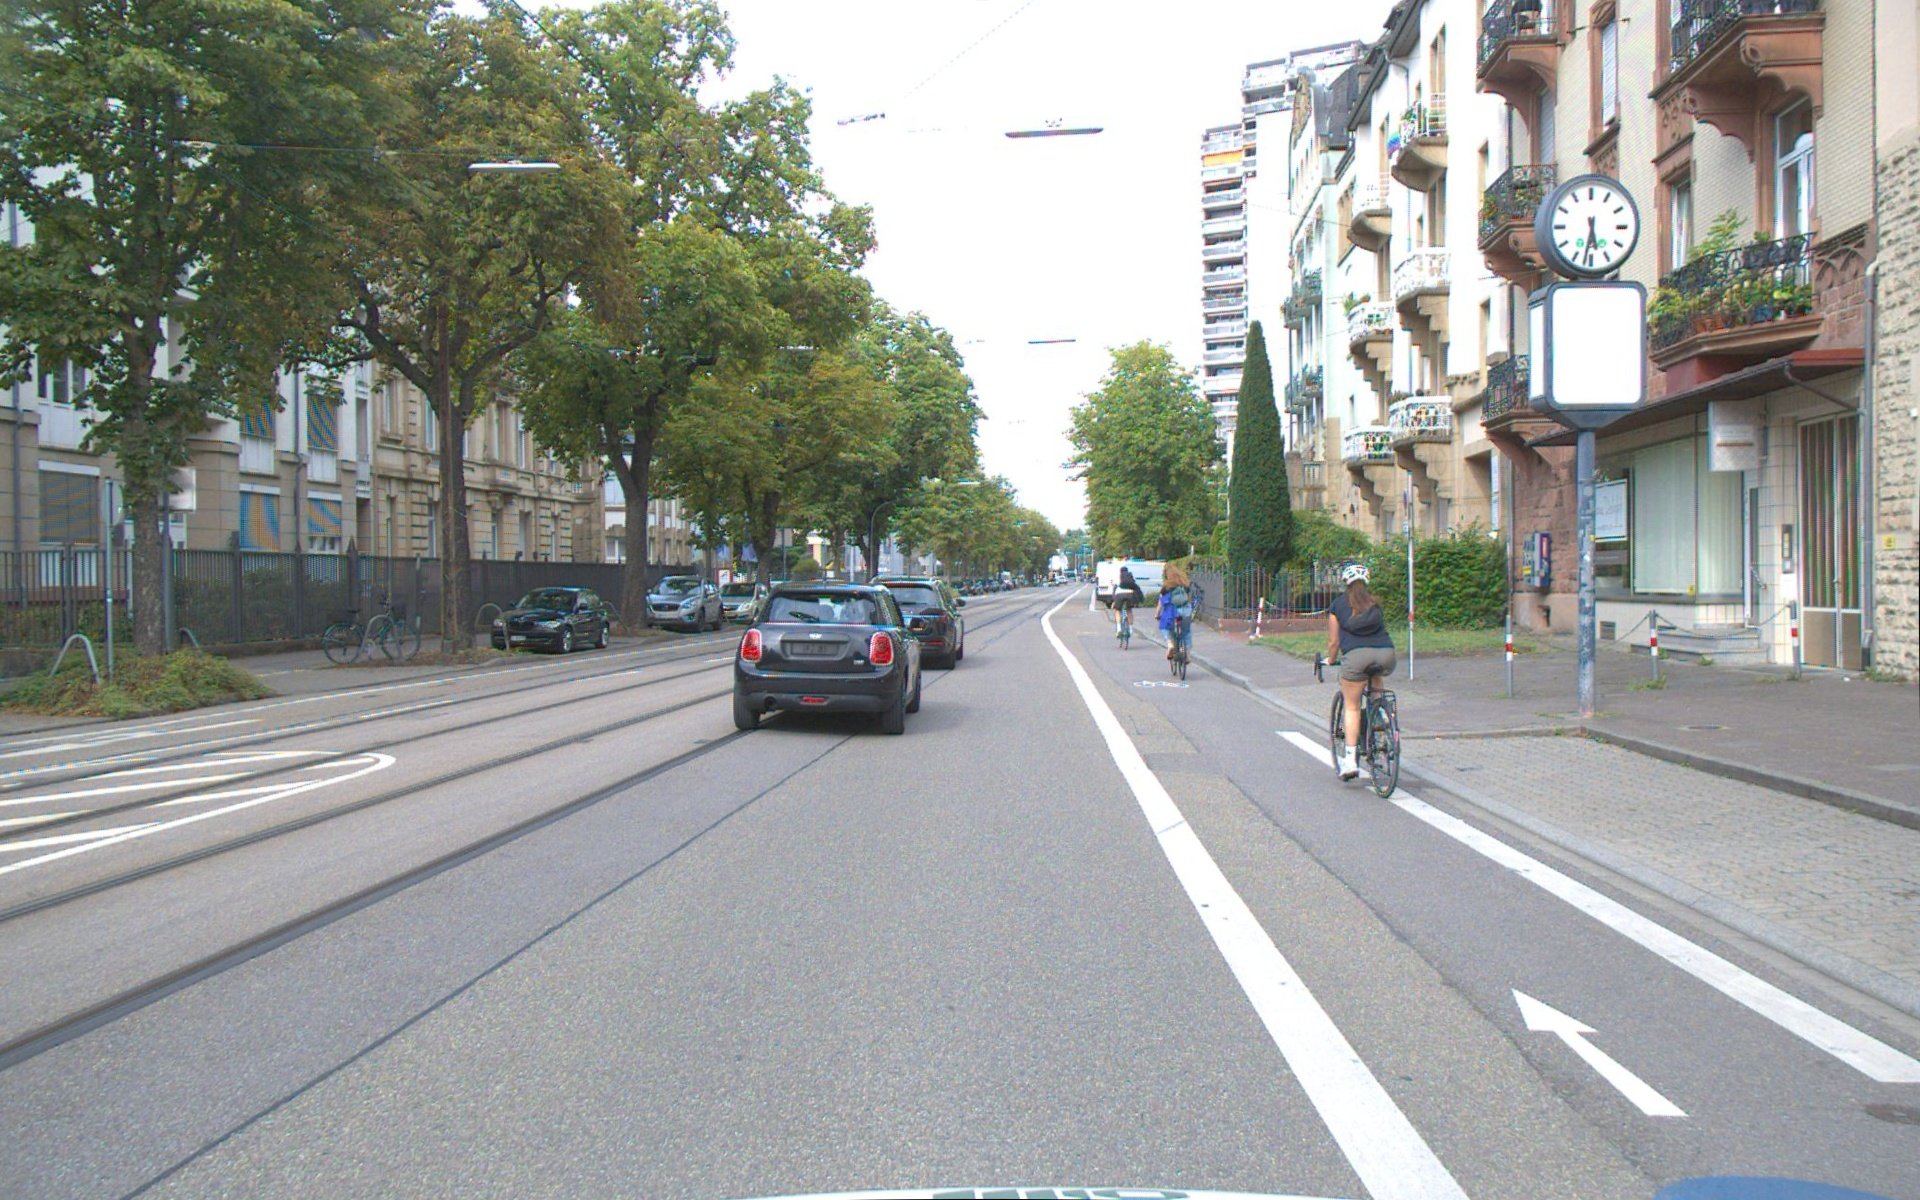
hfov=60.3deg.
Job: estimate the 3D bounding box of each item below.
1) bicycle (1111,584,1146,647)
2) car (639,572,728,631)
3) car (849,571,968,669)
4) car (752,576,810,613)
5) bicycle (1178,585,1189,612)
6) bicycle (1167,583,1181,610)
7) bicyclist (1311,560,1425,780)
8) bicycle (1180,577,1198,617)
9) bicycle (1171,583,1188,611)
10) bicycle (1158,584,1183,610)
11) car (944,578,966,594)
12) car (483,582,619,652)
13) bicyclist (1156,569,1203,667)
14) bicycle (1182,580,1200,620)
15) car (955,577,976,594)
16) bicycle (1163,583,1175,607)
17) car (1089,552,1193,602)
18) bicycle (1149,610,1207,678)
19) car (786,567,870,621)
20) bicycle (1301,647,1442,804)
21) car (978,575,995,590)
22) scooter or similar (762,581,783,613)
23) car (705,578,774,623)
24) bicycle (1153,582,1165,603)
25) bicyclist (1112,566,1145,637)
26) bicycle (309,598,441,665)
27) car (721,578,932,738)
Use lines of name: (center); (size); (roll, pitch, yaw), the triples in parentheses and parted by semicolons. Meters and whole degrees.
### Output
bicycle: (3.550, 0.314, 35.046); (0.643, 1.270, 2.126); (0, 1, 3)
car: (-8.351, 0.008, 50.308); (1.674, 1.703, 4.360); (0, 1, 4)
car: (-0.799, 0.278, 27.945); (1.756, 1.495, 4.001); (1, 1, 1)
car: (-7.369, -0.251, 68.469); (1.685, 1.448, 4.025); (2, 1, 4)
bicycle: (7.355, -0.043, 54.461); (0.272, 0.867, 1.199); (-1, 0, 5)
bicycle: (7.511, -0.136, 58.059); (0.475, 0.923, 1.666); (-2, 0, 8)
bicyclist: (3.101, 0.503, 12.645); (0.625, 1.597, 1.111); (0, 1, 2)
bicycle: (6.950, -0.101, 50.260); (0.383, 1.162, 1.922); (-2, 1, 5)
bicycle: (7.464, -0.101, 56.271); (0.475, 0.923, 1.666); (-2, 0, 5)
bicycle: (7.622, -0.121, 59.970); (0.476, 0.923, 1.663); (-1, 0, -6)
car: (-0.435, -1.254, 152.134); (1.764, 1.398, 4.033); (-1, 1, 4)
car: (-9.371, 0.353, 38.255); (1.684, 1.449, 4.169); (2, 1, 6)
bicyclist: (3.406, 0.270, 25.720); (0.634, 1.495, 0.801); (0, 2, 1)
bicycle: (6.636, -0.006, 47.561); (0.383, 1.122, 1.760); (-2, 1, 5)
car: (0.574, -1.459, 162.485); (1.764, 1.611, 4.033); (-1, 0, 4)
bicycle: (8.130, -0.196, 64.377); (0.378, 0.923, 1.666); (-2, 0, 9)
car: (8.896, -1.112, 81.006); (4.909, 2.330, 2.352); (0, 0, -39)
bicycle: (3.409, 0.668, 26.006); (0.674, 0.979, 2.037); (1, 1, 1)
car: (-3.776, -0.205, 47.856); (1.537, 1.440, 4.004); (-2, 1, 8)
bicycle: (3.098, 0.908, 12.632); (0.625, 0.998, 2.072); (0, 1, 2)
car: (3.052, -2.051, 191.947); (1.764, 1.611, 4.033); (-1, 0, 4)
scooter or similar: (-7.444, -0.120, 65.536); (0.552, 1.244, 1.316); (0, 1, -19)
car: (-7.654, -0.013, 57.661); (1.567, 1.493, 4.082); (0, 1, 4)
bicycle: (8.744, -0.339, 72.618); (0.378, 0.923, 1.843); (-1, 0, 3)
bicyclist: (3.566, 0.018, 35.038); (0.643, 1.489, 1.179); (0, 1, 3)
bicycle: (-10.793, 0.563, 30.537); (2.204, 1.195, 0.827); (0, 1, -29)
car: (-1.282, 0.514, 17.419); (1.756, 1.447, 4.001); (1, 1, 2)
